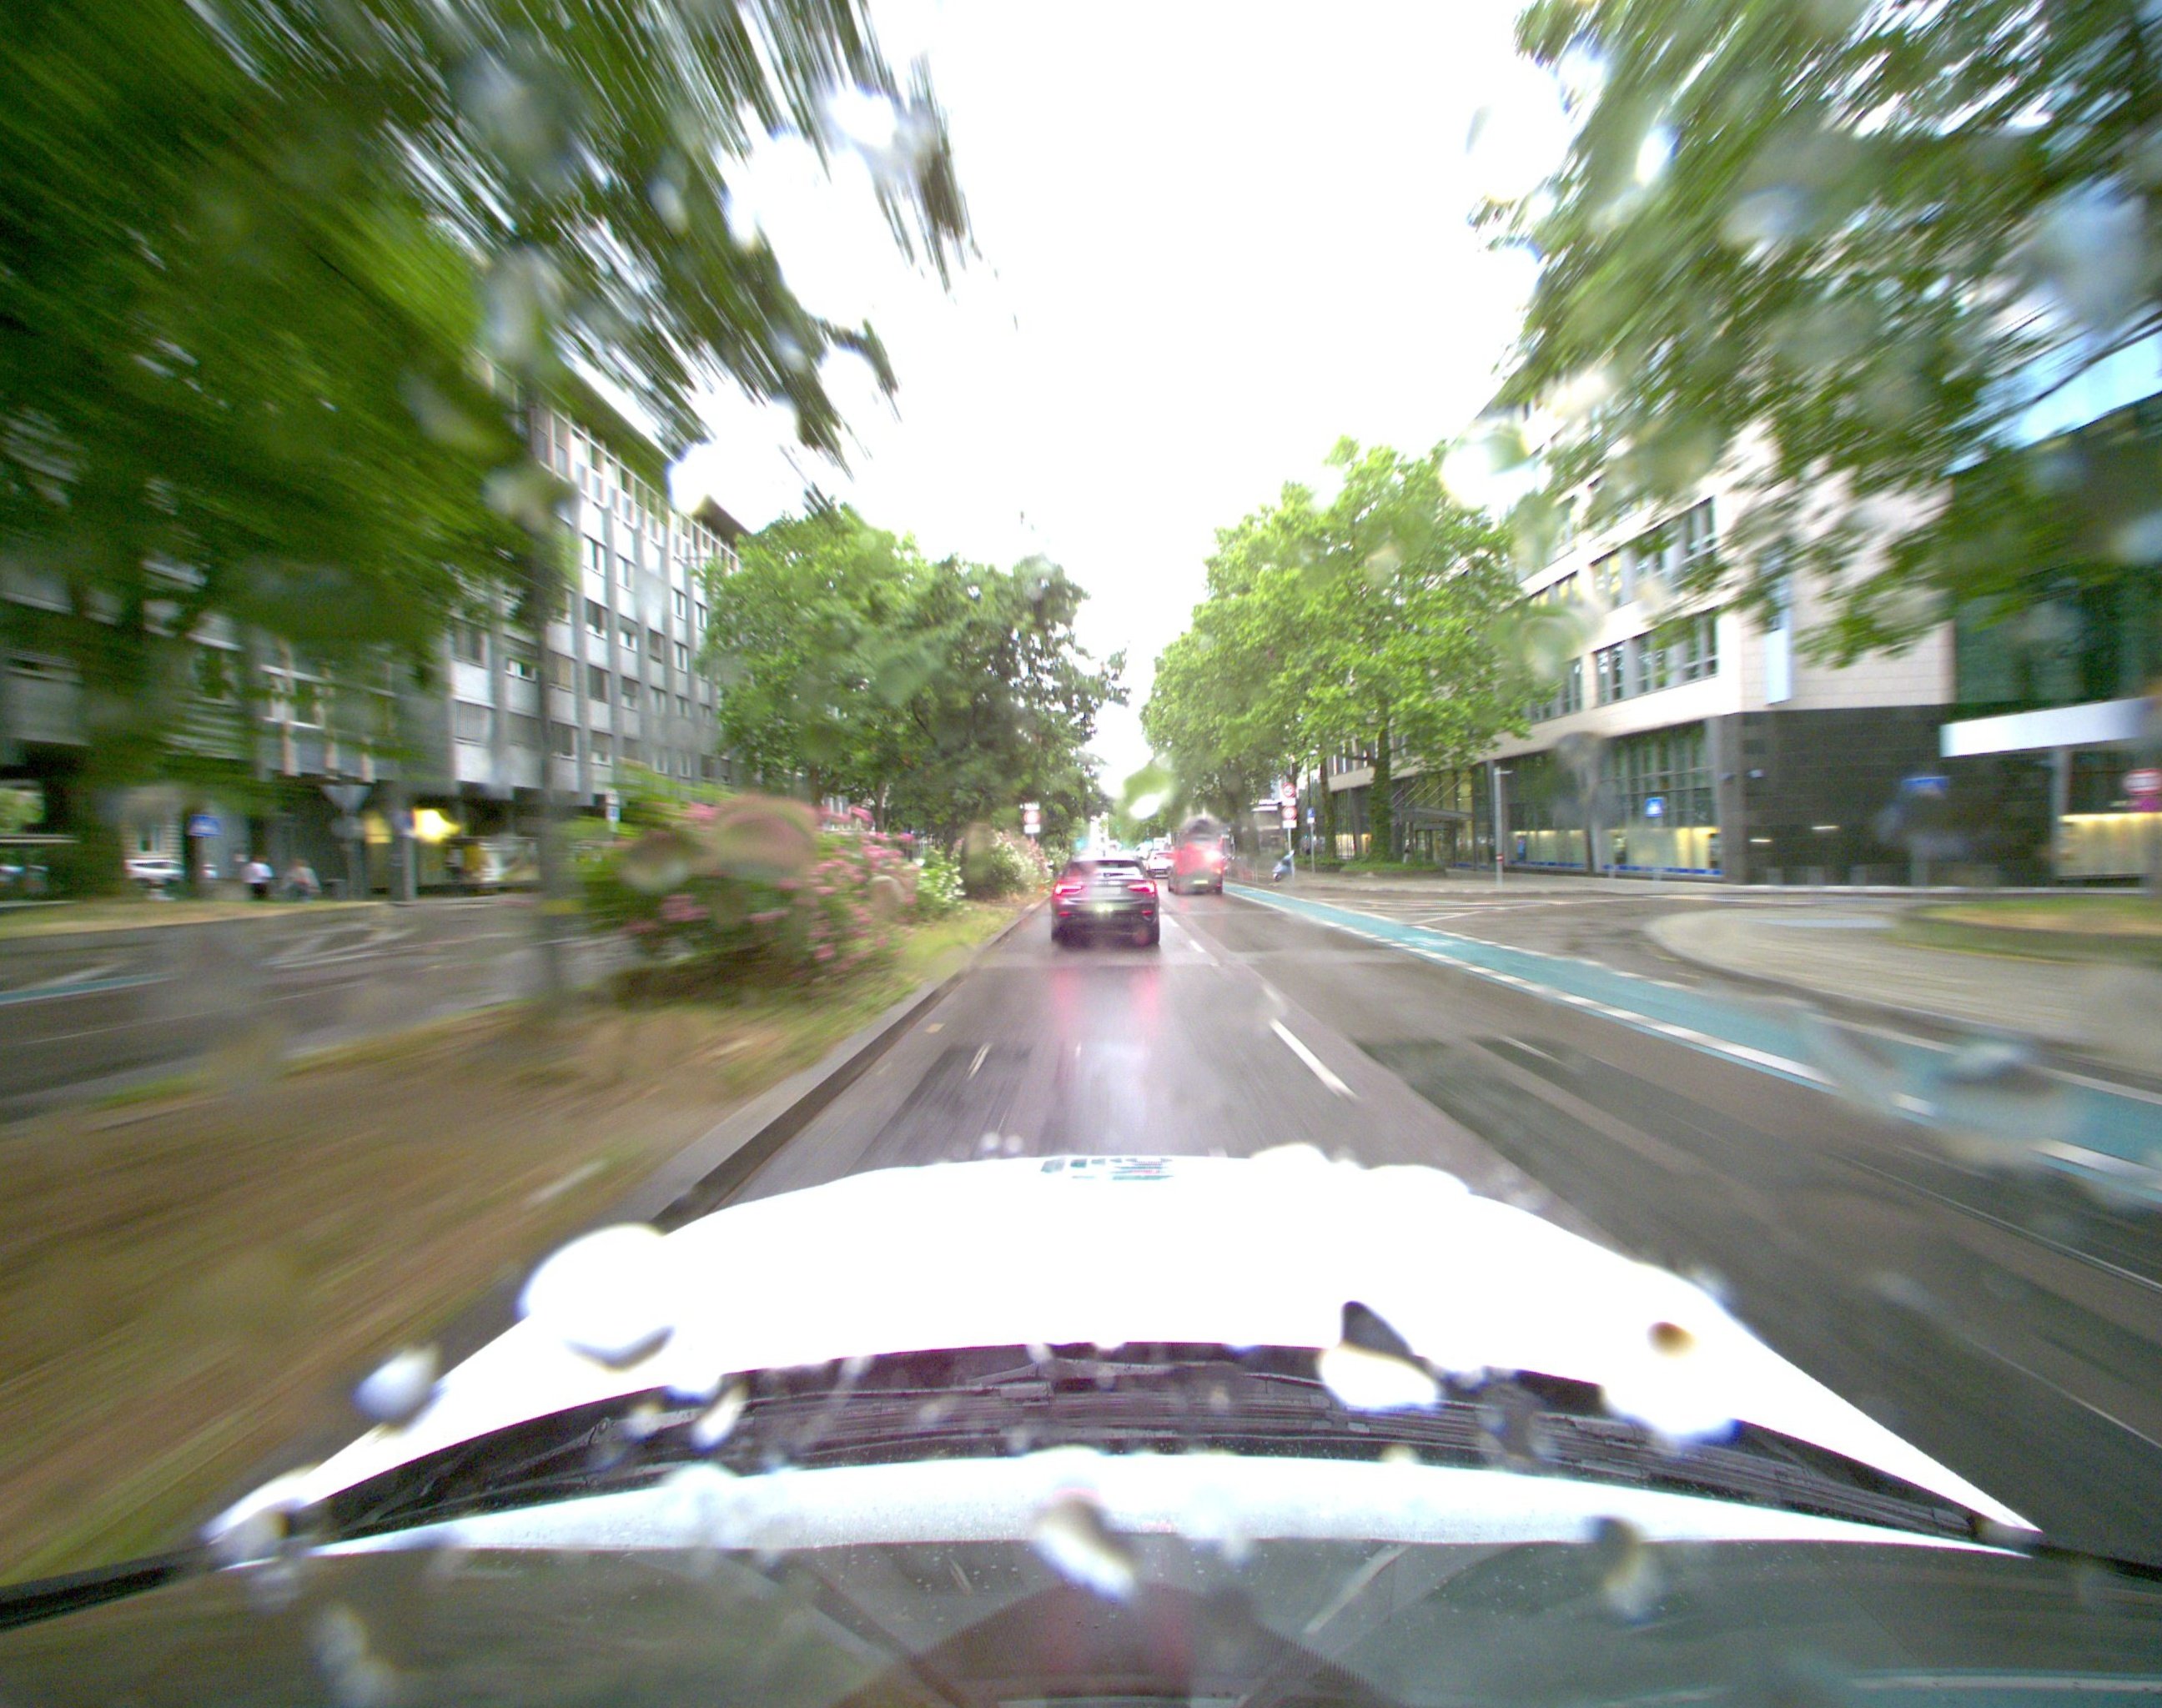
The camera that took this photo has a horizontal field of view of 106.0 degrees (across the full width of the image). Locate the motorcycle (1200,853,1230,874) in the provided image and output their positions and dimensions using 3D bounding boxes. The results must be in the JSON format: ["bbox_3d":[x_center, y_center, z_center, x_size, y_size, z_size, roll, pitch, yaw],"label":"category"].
[{"bbox_3d":[9.484,0.654,57.803,1.962,1.373,0.724,-4,2,-21],"label":"motorcycle"}]

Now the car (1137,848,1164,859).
[{"bbox_3d":[10.460,-0.133,122.089,3.618,1.547,1.723,-1,0,20],"label":"car"}]

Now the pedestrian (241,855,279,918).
[{"bbox_3d":[-23.989,0.951,23.794,0.546,1.807,0.522,-1,0,1],"label":"pedestrian"}]

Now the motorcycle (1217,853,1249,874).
[{"bbox_3d":[9.534,0.588,51.037,2.069,1.212,0.677,-4,0,-35],"label":"motorcycle"}]

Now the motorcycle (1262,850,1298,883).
[{"bbox_3d":[9.227,0.586,37.706,0.676,1.367,1.958,-5,-1,41],"label":"motorcycle"}]

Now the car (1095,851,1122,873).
[{"bbox_3d":[2.001,0.571,59.202,1.843,1.523,4.039,-1,0,1],"label":"car"}]

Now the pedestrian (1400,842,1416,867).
[{"bbox_3d":[22.583,0.055,56.257,0.720,1.693,0.833,-2,1,44],"label":"pedestrian"}]

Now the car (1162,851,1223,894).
[{"bbox_3d":[4.187,0.654,31.131,1.843,1.523,4.039,-1,0,1],"label":"car"}]

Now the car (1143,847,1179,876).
[{"bbox_3d":[4.849,0.429,49.632,1.843,1.669,4.039,-1,0,1],"label":"car"}]

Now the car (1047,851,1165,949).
[{"bbox_3d":[0.419,0.728,14.985,1.843,1.523,4.038,-1,0,0],"label":"car"}]

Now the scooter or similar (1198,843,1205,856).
[{"bbox_3d":[11.785,-0.455,79.764,0.486,1.259,1.294,-3,2,1],"label":"scooter or similar"}]

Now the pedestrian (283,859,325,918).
[{"bbox_3d":[-22.940,0.995,24.061,0.561,1.708,0.686,-1,0,1],"label":"pedestrian"}]

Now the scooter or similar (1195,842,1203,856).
[{"bbox_3d":[11.378,-0.462,78.537,0.486,1.259,1.294,-3,2,1],"label":"scooter or similar"}]

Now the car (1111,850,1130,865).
[{"bbox_3d":[4.026,0.351,84.519,1.843,1.523,4.039,-1,0,1],"label":"car"}]

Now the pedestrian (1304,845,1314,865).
[{"bbox_3d":[21.570,0.088,77.060,0.822,1.803,0.730,-1,0,4],"label":"pedestrian"}]

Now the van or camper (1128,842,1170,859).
[{"bbox_3d":[10.684,-0.572,128.032,6.008,2.558,2.117,-2,0,28],"label":"van or camper"}]

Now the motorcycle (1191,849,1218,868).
[{"bbox_3d":[9.799,0.372,64.826,1.959,1.373,0.725,-3,2,-15],"label":"motorcycle"}]

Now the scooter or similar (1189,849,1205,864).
[{"bbox_3d":[10.521,0.256,73.923,1.283,1.278,0.538,-3,1,5],"label":"scooter or similar"}]

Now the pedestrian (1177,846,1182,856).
[{"bbox_3d":[17.681,-0.487,145.793,0.803,1.696,1.187,-1,0,-1],"label":"pedestrian"}]

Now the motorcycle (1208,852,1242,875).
[{"bbox_3d":[9.417,0.613,53.408,2.061,1.428,0.724,-4,2,-21],"label":"motorcycle"}]

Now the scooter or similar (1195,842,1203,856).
[{"bbox_3d":[11.378,-0.462,78.537,0.486,1.259,1.294,-3,2,1],"label":"scooter or similar"}]

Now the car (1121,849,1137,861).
[{"bbox_3d":[6.128,0.146,104.033,1.843,1.523,4.039,-1,0,1],"label":"car"}]

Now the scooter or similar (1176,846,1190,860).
[{"bbox_3d":[10.111,-0.112,80.862,1.280,1.259,0.491,-3,2,12],"label":"scooter or similar"}]
